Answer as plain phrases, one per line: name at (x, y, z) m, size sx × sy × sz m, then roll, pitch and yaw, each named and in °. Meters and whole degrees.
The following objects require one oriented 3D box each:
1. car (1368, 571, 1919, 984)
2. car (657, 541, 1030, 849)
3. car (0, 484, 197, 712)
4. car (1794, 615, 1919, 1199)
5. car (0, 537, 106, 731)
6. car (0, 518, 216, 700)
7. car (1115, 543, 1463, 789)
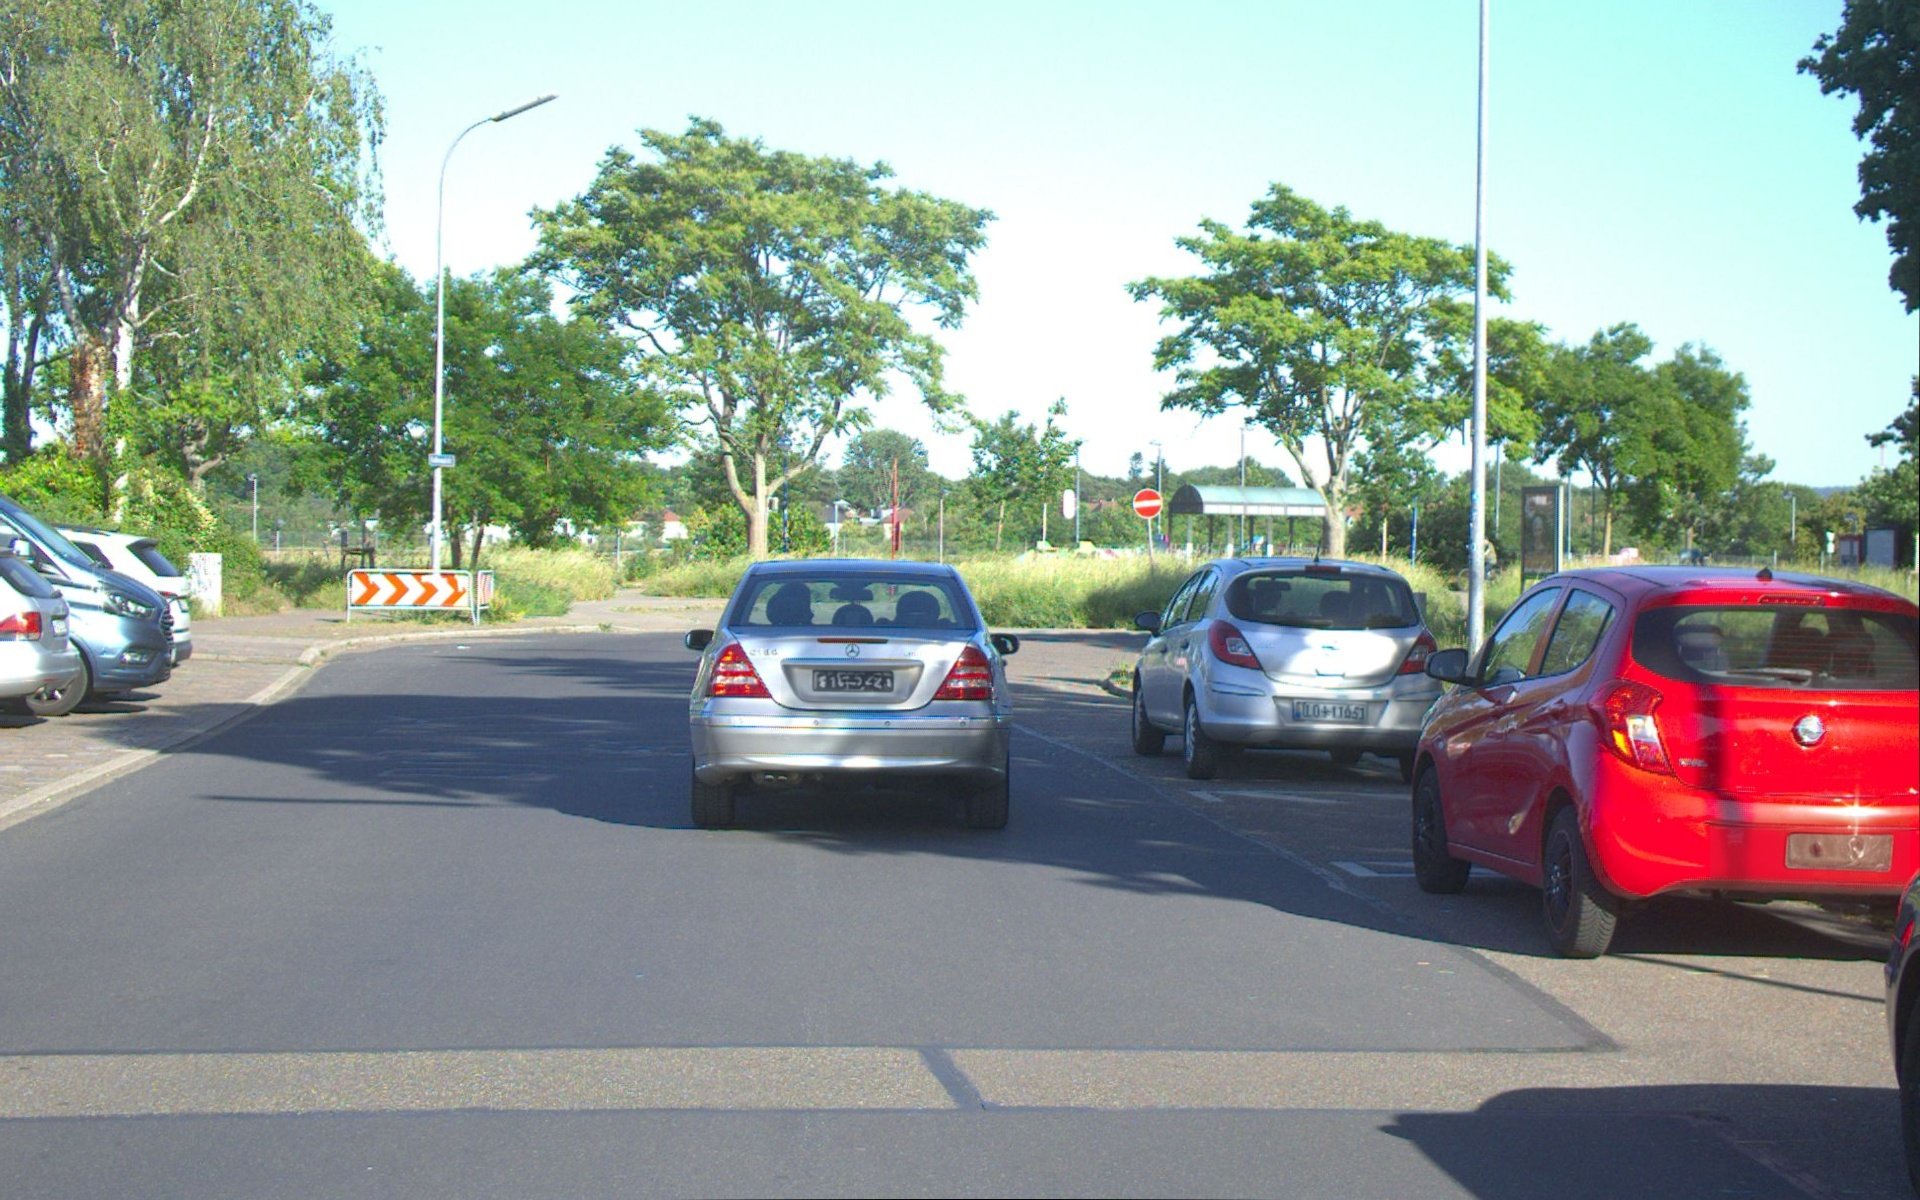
car at (2.869, 0.627, 14.176) m, size 1.575 × 1.441 × 3.789 m, roll 2°, pitch 0°, yaw -5°
car at (-0.657, 0.439, 19.375) m, size 1.816 × 1.458 × 4.361 m, roll 2°, pitch 1°, yaw -2°
car at (-9.272, -0.067, 30.054) m, size 4.870 × 1.909 × 2.000 m, roll 1°, pitch 0°, yaw -7°
car at (3.030, 0.792, 6.765) m, size 1.647 × 1.398 × 3.882 m, roll 3°, pitch 0°, yaw -2°
car at (-9.139, 0.171, 27.527) m, size 4.136 × 1.487 × 1.926 m, roll 3°, pitch 0°, yaw -4°
car at (-9.081, 0.028, 32.691) m, size 3.612 × 1.601 × 1.733 m, roll 3°, pitch 0°, yaw -3°
car at (2.215, 0.415, 24.110) m, size 1.731 × 1.537 × 3.789 m, roll 2°, pitch 0°, yaw -5°
